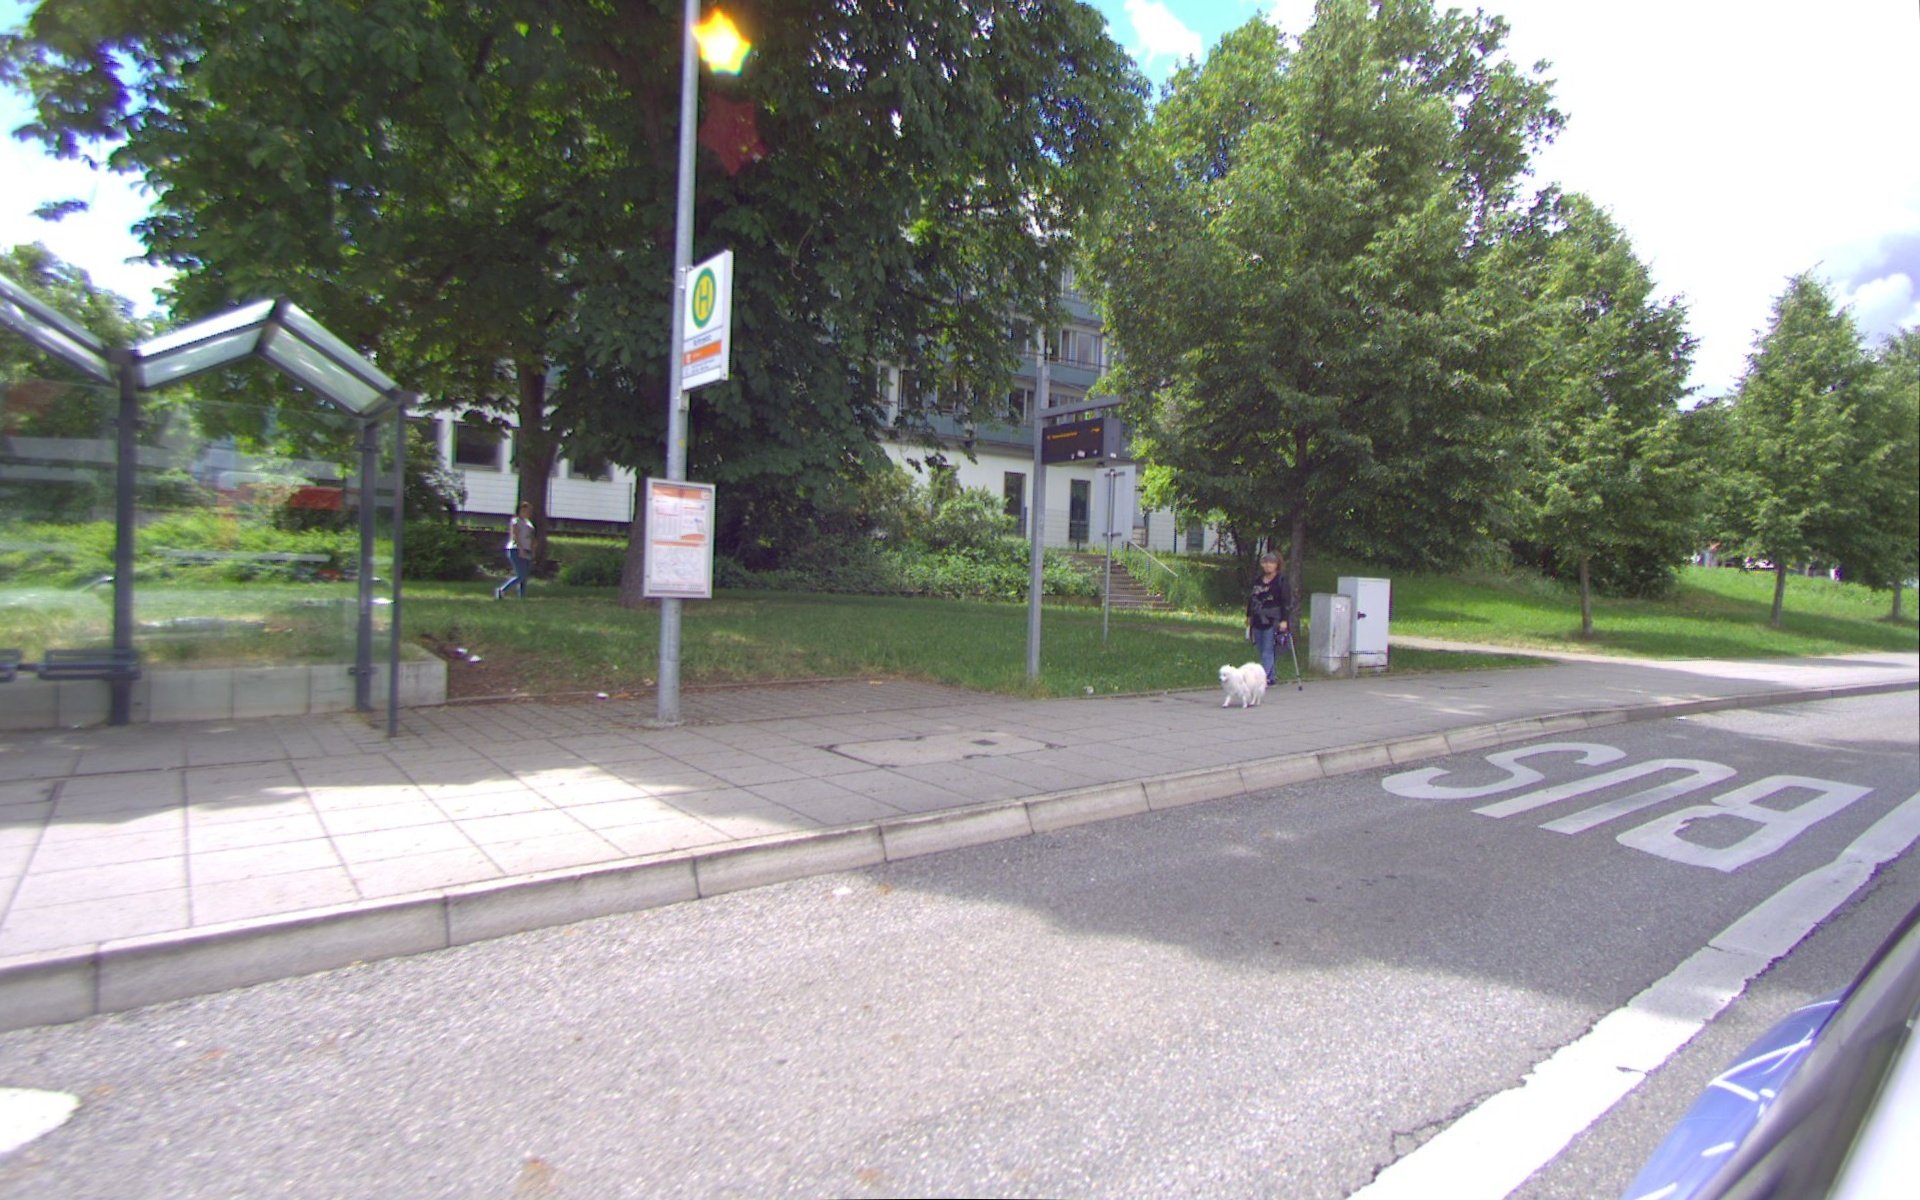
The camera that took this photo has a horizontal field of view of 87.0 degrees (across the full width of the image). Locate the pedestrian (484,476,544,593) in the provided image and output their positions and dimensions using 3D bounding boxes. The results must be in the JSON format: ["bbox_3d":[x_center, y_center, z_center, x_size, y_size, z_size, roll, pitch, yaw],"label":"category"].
[{"bbox_3d":[-7.099,-1.023,16.130,0.840,1.782,0.991,0,2,-23],"label":"pedestrian"}]

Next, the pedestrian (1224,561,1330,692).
[{"bbox_3d":[3.653,0.273,11.687,0.814,1.442,0.823,0,2,-33],"label":"pedestrian"}]
